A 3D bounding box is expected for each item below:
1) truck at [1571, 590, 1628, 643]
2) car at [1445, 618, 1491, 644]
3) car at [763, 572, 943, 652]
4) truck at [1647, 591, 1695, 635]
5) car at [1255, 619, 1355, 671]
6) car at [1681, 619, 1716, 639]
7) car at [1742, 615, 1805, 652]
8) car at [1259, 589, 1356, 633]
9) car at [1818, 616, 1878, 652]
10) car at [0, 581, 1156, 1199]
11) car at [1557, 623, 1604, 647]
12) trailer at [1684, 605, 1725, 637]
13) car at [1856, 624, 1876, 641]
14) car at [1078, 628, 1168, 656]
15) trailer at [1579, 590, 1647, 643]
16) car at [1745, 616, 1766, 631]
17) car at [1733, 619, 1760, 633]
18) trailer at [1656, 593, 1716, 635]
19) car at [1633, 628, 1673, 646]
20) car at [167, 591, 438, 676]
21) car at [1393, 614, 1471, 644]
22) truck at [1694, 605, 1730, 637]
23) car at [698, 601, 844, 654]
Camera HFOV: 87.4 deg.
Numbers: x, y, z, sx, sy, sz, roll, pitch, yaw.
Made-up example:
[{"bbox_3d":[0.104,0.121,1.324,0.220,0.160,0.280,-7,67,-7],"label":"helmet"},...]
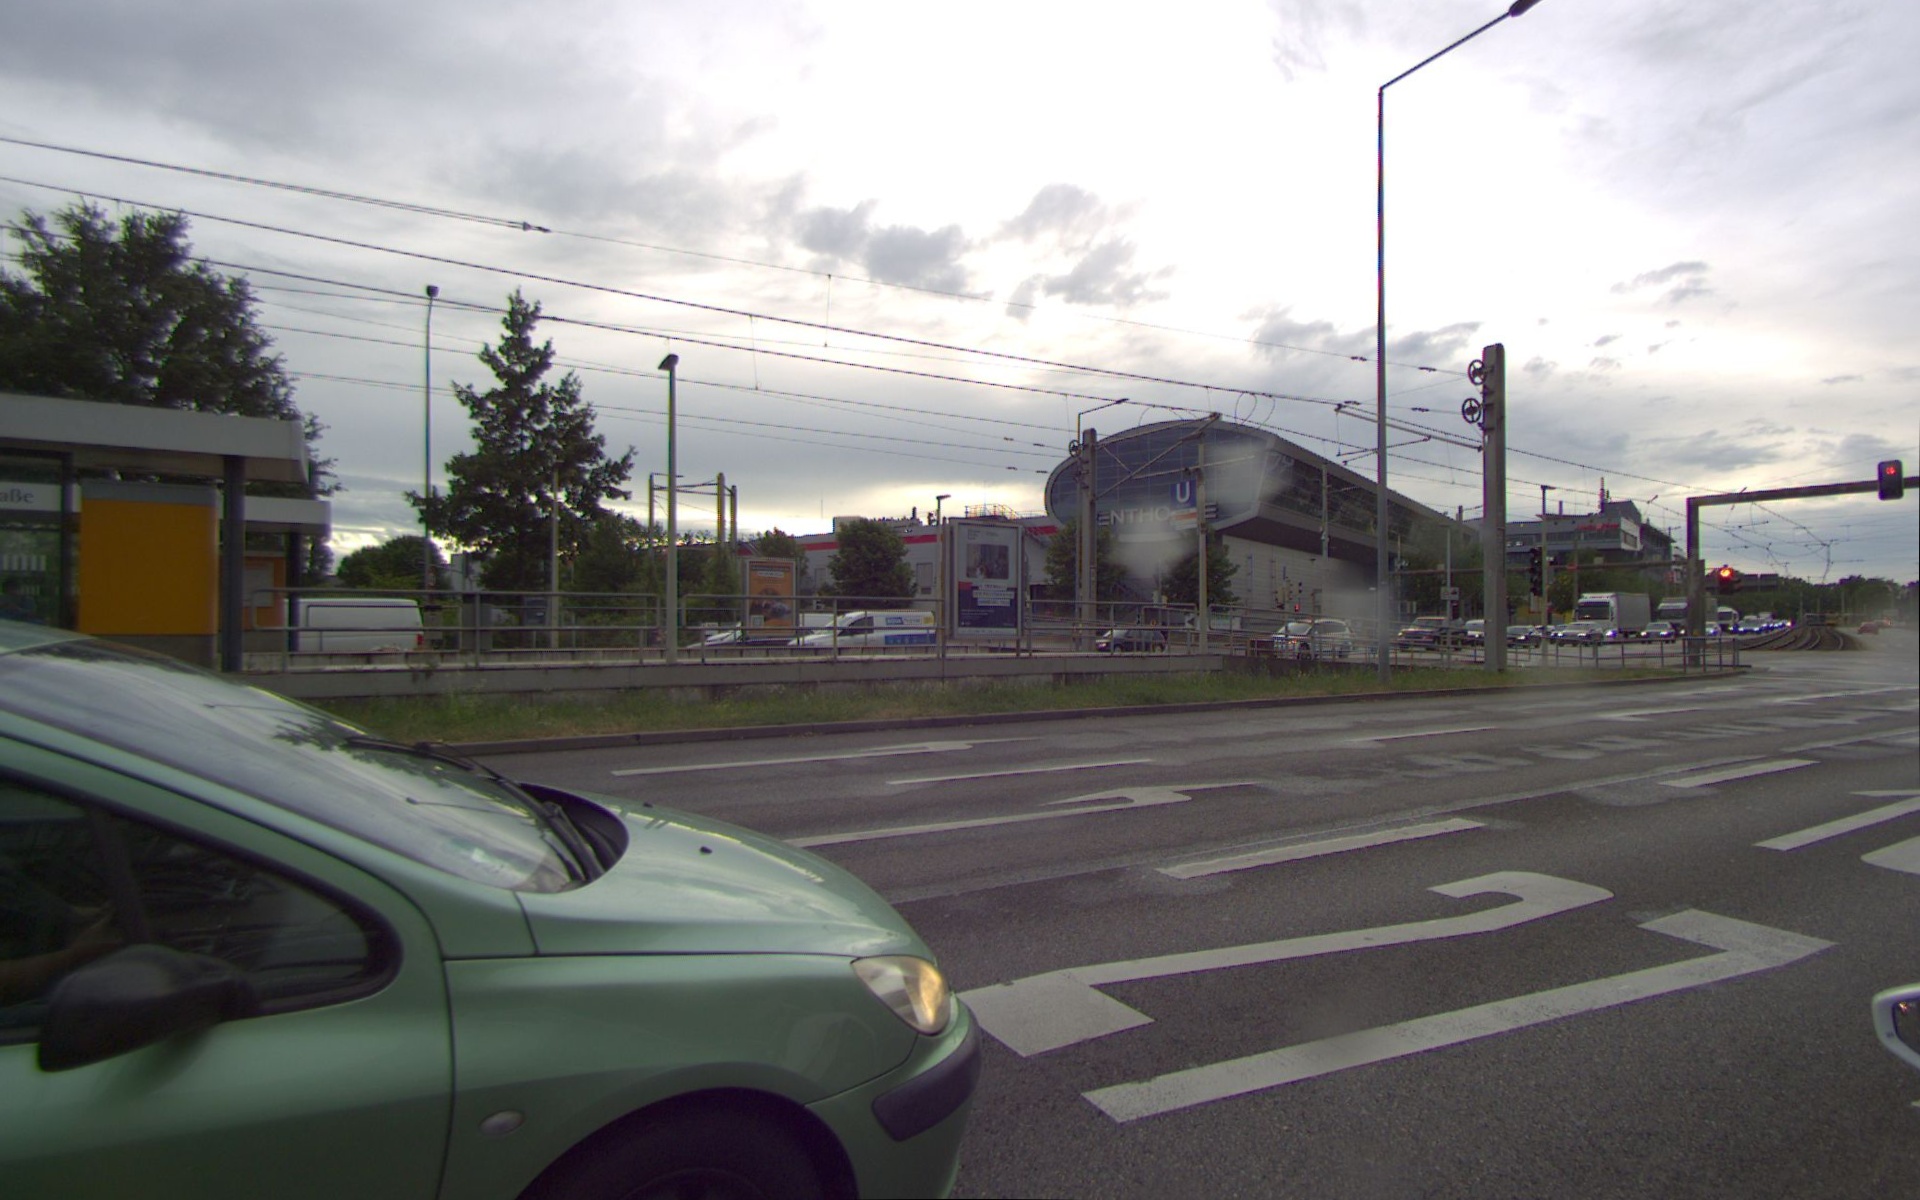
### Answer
[{"bbox_3d":[51.080,1.359,80.130,2.801,4.049,5.953,-1,-2,43],"label":"truck"},{"bbox_3d":[34.668,2.091,68.545,4.055,1.648,1.556,2,0,-44],"label":"car"},{"bbox_3d":[-3.215,0.400,30.636,5.088,2.244,1.982,2,0,-33],"label":"car"},{"bbox_3d":[71.480,1.384,100.974,6.141,4.184,2.642,2,-3,-42],"label":"truck"},{"bbox_3d":[14.484,1.877,42.125,4.304,2.040,1.761,2,0,-35],"label":"car"},{"bbox_3d":[68.856,2.708,93.641,4.067,1.674,1.869,2,0,-43],"label":"car"},{"bbox_3d":[47.698,1.919,58.895,4.304,2.041,1.761,1,1,-36],"label":"car"},{"bbox_3d":[14.528,0.485,41.955,4.223,1.689,1.519,2,0,-33],"label":"car"},{"bbox_3d":[53.149,1.996,60.101,4.304,2.041,1.761,1,1,-36],"label":"car"},{"bbox_3d":[-1.889,0.711,1.788,4.352,1.488,1.686,2,0,-30],"label":"car"},{"bbox_3d":[42.088,2.387,68.070,4.124,1.481,1.722,2,0,-44],"label":"car"},{"bbox_3d":[96.700,2.817,130.565,2.684,3.905,11.212,-2,-3,29],"label":"trailer"},{"bbox_3d":[114.708,4.085,127.190,1.753,2.040,4.323,2,0,43],"label":"car"},{"bbox_3d":[7.302,1.888,44.872,3.890,1.146,1.518,2,0,-31],"label":"car"},{"bbox_3d":[54.865,1.427,84.257,2.765,4.161,11.376,-2,-2,43],"label":"trailer"},{"bbox_3d":[102.615,3.009,129.556,1.971,1.862,4.883,0,0,41],"label":"car"},{"bbox_3d":[91.093,3.004,116.358,4.536,1.576,1.884,2,0,-44],"label":"car"},{"bbox_3d":[76.150,1.606,105.268,12.654,4.179,2.625,2,-3,-43],"label":"trailer"},{"bbox_3d":[54.250,2.920,78.605,1.888,1.281,4.387,2,0,44],"label":"car"},{"bbox_3d":[-14.877,0.756,23.024,4.978,1.754,1.981,2,0,-34],"label":"car"},{"bbox_3d":[25.318,1.565,53.800,4.887,1.517,1.665,2,0,-37],"label":"car"},{"bbox_3d":[93.907,2.652,125.456,2.705,3.854,5.404,-2,-3,28],"label":"truck"},{"bbox_3d":[-6.663,0.987,35.532,4.616,1.722,2.093,2,0,-33],"label":"car"}]
